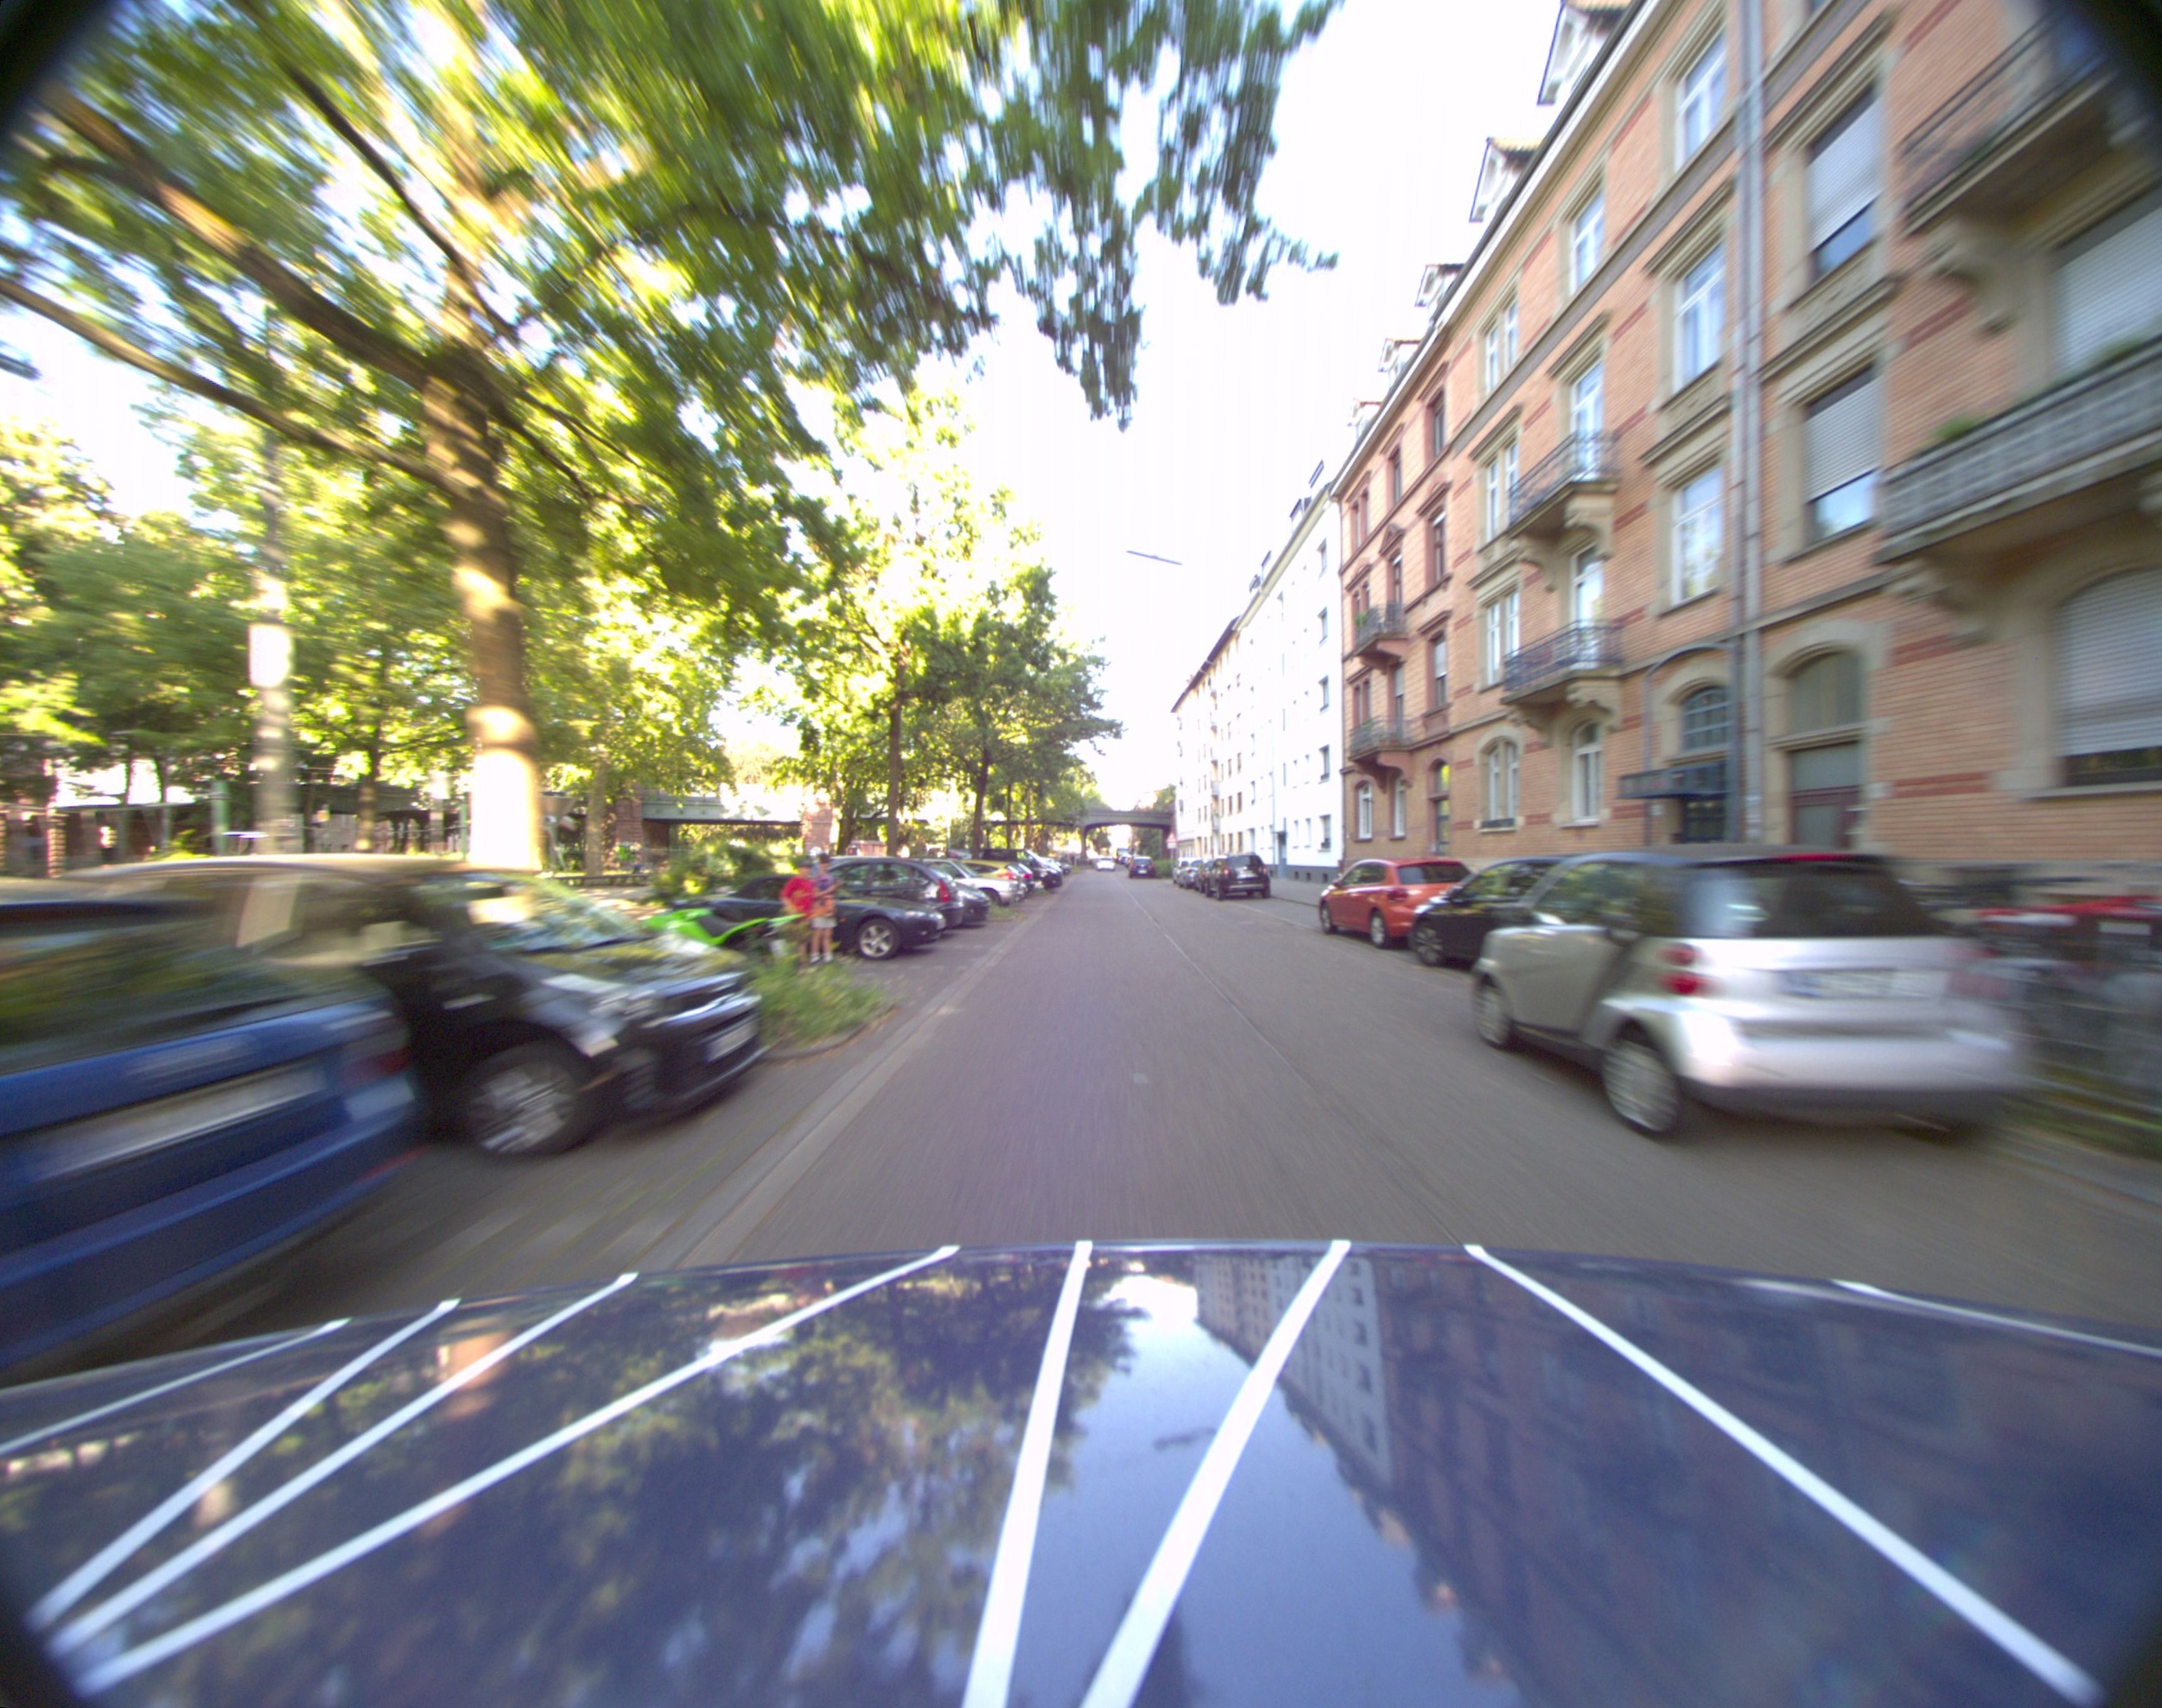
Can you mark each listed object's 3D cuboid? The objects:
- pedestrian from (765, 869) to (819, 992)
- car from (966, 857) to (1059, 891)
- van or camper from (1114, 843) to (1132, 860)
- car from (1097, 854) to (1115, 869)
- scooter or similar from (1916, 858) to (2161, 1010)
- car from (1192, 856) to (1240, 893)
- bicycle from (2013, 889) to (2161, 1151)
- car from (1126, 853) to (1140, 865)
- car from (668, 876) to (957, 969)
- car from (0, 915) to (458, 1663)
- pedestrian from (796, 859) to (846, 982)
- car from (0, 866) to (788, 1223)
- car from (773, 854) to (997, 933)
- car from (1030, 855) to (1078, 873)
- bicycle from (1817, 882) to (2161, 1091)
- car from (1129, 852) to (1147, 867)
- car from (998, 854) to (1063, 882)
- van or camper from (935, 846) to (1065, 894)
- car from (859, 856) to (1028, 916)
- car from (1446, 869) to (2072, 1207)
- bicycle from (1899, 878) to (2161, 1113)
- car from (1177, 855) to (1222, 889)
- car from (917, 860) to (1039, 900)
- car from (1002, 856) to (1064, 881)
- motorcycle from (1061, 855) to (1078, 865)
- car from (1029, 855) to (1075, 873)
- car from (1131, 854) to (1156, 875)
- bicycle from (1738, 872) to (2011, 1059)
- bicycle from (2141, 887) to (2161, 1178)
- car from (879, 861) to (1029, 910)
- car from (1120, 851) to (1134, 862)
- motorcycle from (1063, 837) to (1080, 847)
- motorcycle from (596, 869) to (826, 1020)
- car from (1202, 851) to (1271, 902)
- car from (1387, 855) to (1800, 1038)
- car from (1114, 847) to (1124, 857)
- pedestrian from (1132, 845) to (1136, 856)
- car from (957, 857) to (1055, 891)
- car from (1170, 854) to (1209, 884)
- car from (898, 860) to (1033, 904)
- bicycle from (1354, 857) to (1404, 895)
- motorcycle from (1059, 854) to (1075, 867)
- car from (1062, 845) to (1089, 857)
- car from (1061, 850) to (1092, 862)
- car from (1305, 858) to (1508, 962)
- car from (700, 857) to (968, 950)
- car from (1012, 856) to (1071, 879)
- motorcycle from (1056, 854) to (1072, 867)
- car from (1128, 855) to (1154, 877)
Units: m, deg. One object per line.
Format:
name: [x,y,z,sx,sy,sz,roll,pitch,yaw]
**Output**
pedestrian: [-3.638,0.944,9.585,0.380,1.507,0.520,-1,-2,21]
car: [-3.363,0.981,37.897,4.409,1.568,1.664,0,2,4]
van or camper: [6.634,-0.387,120.219,2.242,2.509,6.418,-2,2,-2]
car: [2.526,0.771,76.345,1.672,1.422,4.001,2,-1,2]
scooter or similar: [9.679,0.703,7.110,0.785,1.215,2.703,-2,2,1]
car: [5.899,0.874,33.566,1.619,1.443,4.001,-3,0,4]
bicycle: [5.854,0.789,3.818,1.767,1.208,0.428,-2,2,1]
car: [7.103,0.628,104.357,1.599,1.538,3.914,1,1,-1]
car: [-3.986,1.008,11.742,3.852,1.271,1.690,0,0,0]
car: [-4.287,0.930,1.823,4.092,1.434,1.761,1,0,-1]
pedestrian: [-3.440,0.867,10.078,0.380,1.575,0.520,-1,-2,21]
car: [-3.875,0.868,4.342,3.683,1.493,1.762,1,0,2]
car: [-4.183,0.822,16.721,4.409,1.582,1.838,0,1,2]
car: [-2.169,0.815,61.690,3.791,1.393,1.827,0,2,3]
bicycle: [5.810,0.820,4.847,1.767,1.208,0.441,-2,2,1]
car: [6.581,0.629,88.526,1.721,1.698,4.322,0,1,0]
car: [-3.067,0.845,46.523,3.791,1.637,1.664,0,2,2]
van or camper: [-3.493,0.689,33.462,5.426,2.015,2.030,0,0,4]
car: [-3.787,0.880,21.489,4.410,1.582,1.837,0,1,1]
car: [3.664,0.842,4.757,1.507,1.426,2.753,0,0,2]
bicycle: [5.814,0.775,4.330,1.767,1.208,0.464,-2,2,1]
car: [5.880,0.859,38.130,1.672,1.462,4.284,-4,0,2]
car: [-3.862,0.967,29.091,4.410,1.432,1.837,0,1,0]
car: [-3.087,0.924,49.162,3.790,1.465,1.664,0,2,4]
motorcycle: [-1.386,0.738,90.349,1.839,1.126,0.849,-3,2,-22]
car: [-2.437,0.837,63.924,3.792,1.464,1.634,0,2,-2]
car: [4.830,0.772,58.930,1.707,1.516,3.773,0,0,1]
bicycle: [6.013,0.791,5.758,2.096,1.208,0.441,-2,2,-14]
bicycle: [5.850,0.805,3.287,1.767,1.340,0.495,-2,2,1]
car: [-3.986,0.969,24.255,4.409,1.432,1.838,0,1,4]
car: [6.878,0.400,114.178,1.749,1.458,4.373,-2,2,-2]
motorcycle: [-1.205,-1.477,95.998,1.938,1.231,0.902,-3,2,-24]
motorcycle: [-4.033,0.956,8.480,1.865,1.454,1.264,-2,2,3]
car: [5.664,0.764,28.154,1.756,1.696,4.200,-2,0,1]
car: [5.430,0.817,8.846,1.752,1.537,4.149,-2,0,-5]
car: [6.700,-0.358,134.454,1.703,1.489,4.549,1,2,3]
pedestrian: [9.407,-0.657,134.972,0.639,1.904,1.046,-2,2,-5]
car: [-3.460,0.940,35.592,4.411,1.492,1.837,0,2,-1]
car: [6.112,0.808,43.229,1.672,1.499,4.000,-4,0,1]
car: [-3.992,0.968,26.694,4.409,1.432,1.838,0,1,4]
bicycle: [9.820,0.703,25.138,0.738,1.199,2.514,-2,-1,2]
motorcycle: [-1.541,0.733,86.055,1.601,1.400,0.713,-1,2,21]
car: [-0.972,-0.518,132.090,4.683,1.914,1.872,2,2,0]
car: [-0.655,0.276,114.845,4.544,1.686,1.907,-2,2,0]
car: [5.442,0.846,13.338,1.758,1.455,4.000,-3,0,-1]
car: [-4.403,0.863,14.125,4.412,1.582,1.837,0,1,-3]
car: [-2.660,0.898,51.927,3.789,1.439,1.665,0,2,7]
motorcycle: [-1.921,0.772,85.155,1.601,1.400,0.713,-1,2,21]
car: [4.188,0.844,53.526,1.743,1.471,4.001,0,0,3]
